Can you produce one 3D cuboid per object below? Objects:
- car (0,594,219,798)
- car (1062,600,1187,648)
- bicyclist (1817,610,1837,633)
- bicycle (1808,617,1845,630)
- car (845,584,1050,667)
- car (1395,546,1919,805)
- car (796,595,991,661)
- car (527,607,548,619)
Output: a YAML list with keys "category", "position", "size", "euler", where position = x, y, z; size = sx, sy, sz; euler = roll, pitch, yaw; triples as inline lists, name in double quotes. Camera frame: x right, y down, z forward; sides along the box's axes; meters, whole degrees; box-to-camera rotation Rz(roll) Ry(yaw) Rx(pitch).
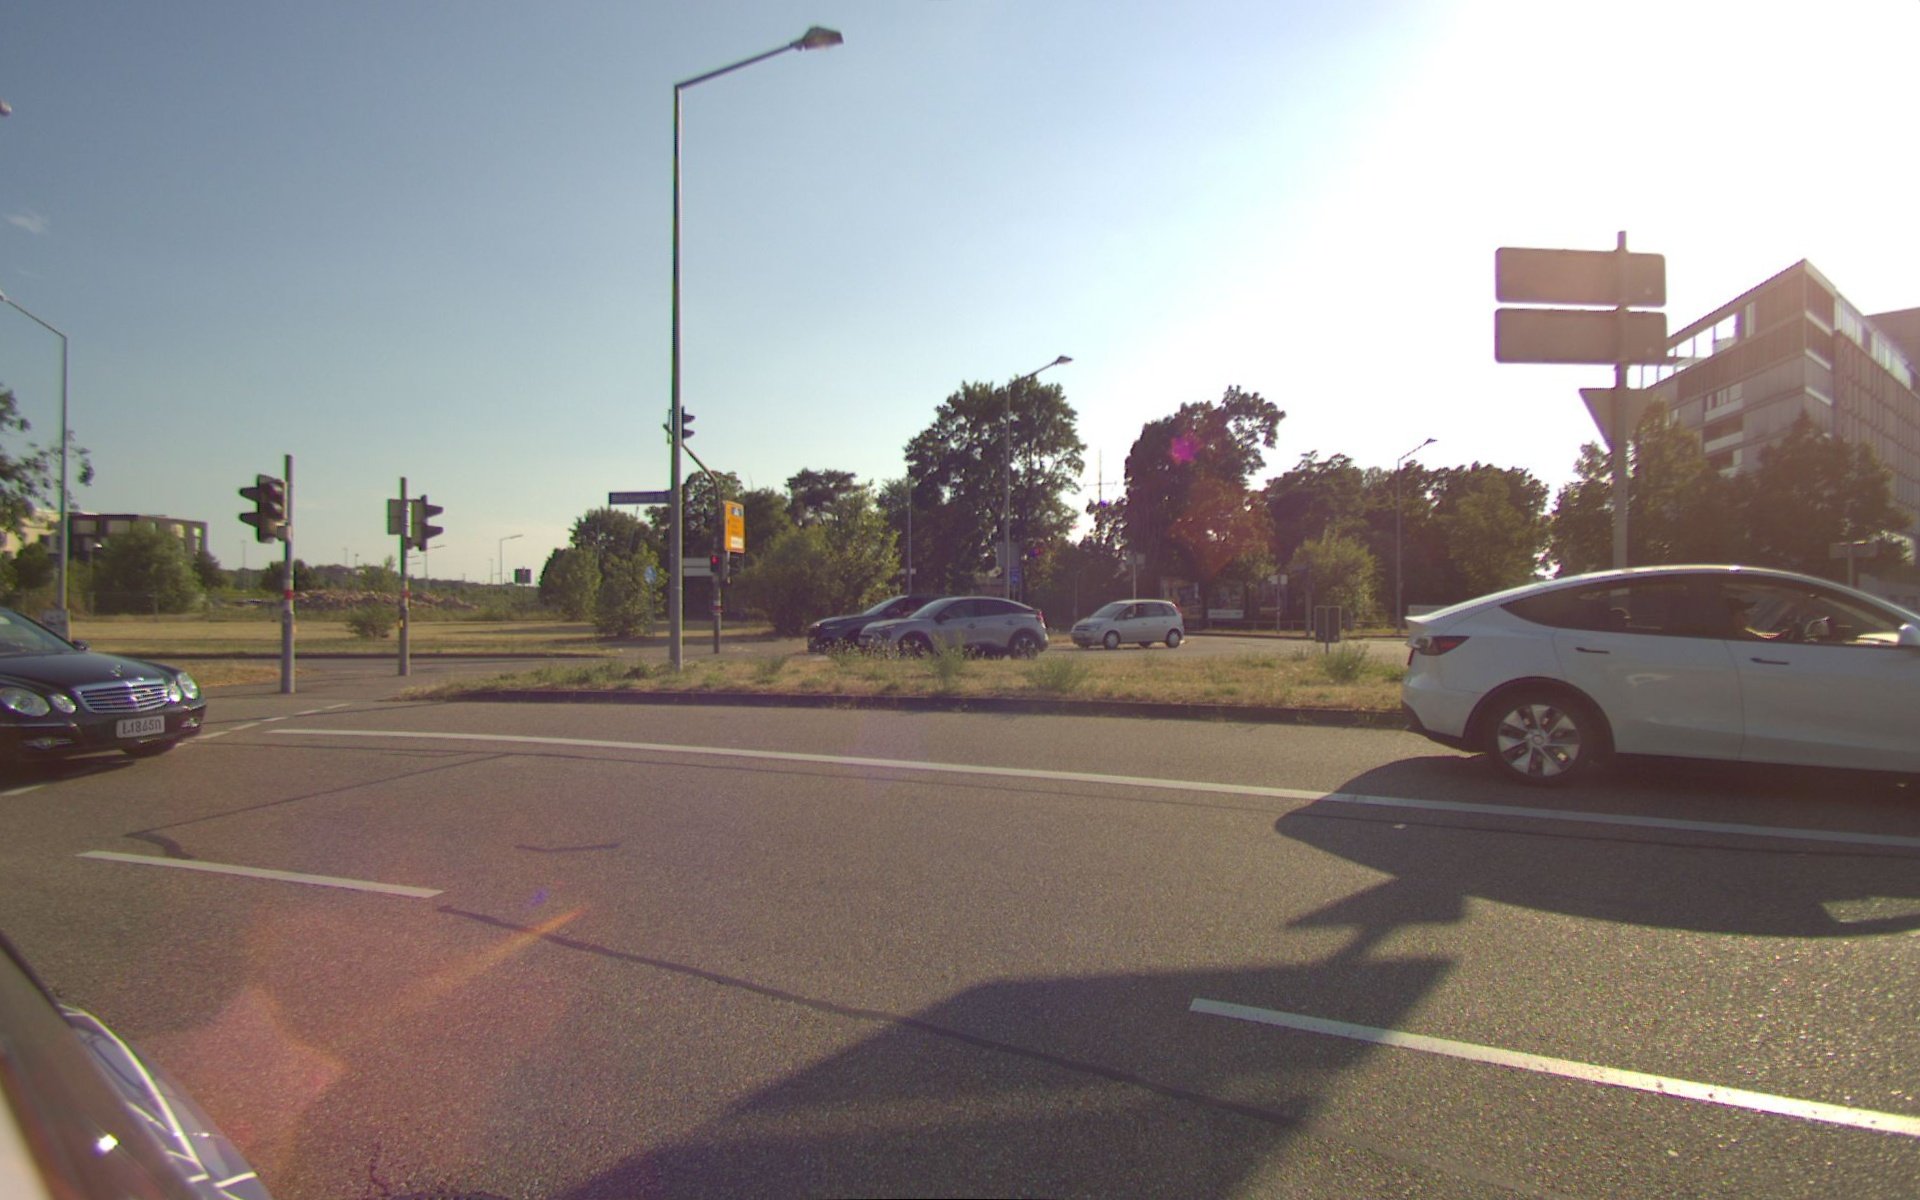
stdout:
- category: "car"
  position: [-8.931, 0.690, 8.579]
  size: [4.448, 1.447, 1.804]
  euler: [0, 1, 13]
- category: "car"
  position: [5.499, 0.774, 33.800]
  size: [3.875, 1.537, 1.662]
  euler: [0, -1, -26]
- category: "bicyclist"
  position: [49.899, 1.251, 58.245]
  size: [0.645, 1.335, 0.519]
  euler: [0, -1, 0]
- category: "bicycle"
  position: [49.833, 1.342, 58.213]
  size: [1.698, 0.750, 0.480]
  euler: [0, -1, 1]
- category: "car"
  position: [-0.270, 0.523, 22.274]
  size: [4.127, 1.686, 1.782]
  euler: [0, -1, -25]
- category: "car"
  position: [5.733, 0.451, 7.349]
  size: [4.653, 1.611, 1.725]
  euler: [0, 1, 27]
- category: "car"
  position: [-1.645, 0.679, 25.249]
  size: [4.564, 1.524, 1.658]
  euler: [0, -1, -22]
- category: "car"
  position: [-47.631, 1.469, 114.101]
  size: [1.317, 1.301, 2.807]
  euler: [1, -1, -44]
